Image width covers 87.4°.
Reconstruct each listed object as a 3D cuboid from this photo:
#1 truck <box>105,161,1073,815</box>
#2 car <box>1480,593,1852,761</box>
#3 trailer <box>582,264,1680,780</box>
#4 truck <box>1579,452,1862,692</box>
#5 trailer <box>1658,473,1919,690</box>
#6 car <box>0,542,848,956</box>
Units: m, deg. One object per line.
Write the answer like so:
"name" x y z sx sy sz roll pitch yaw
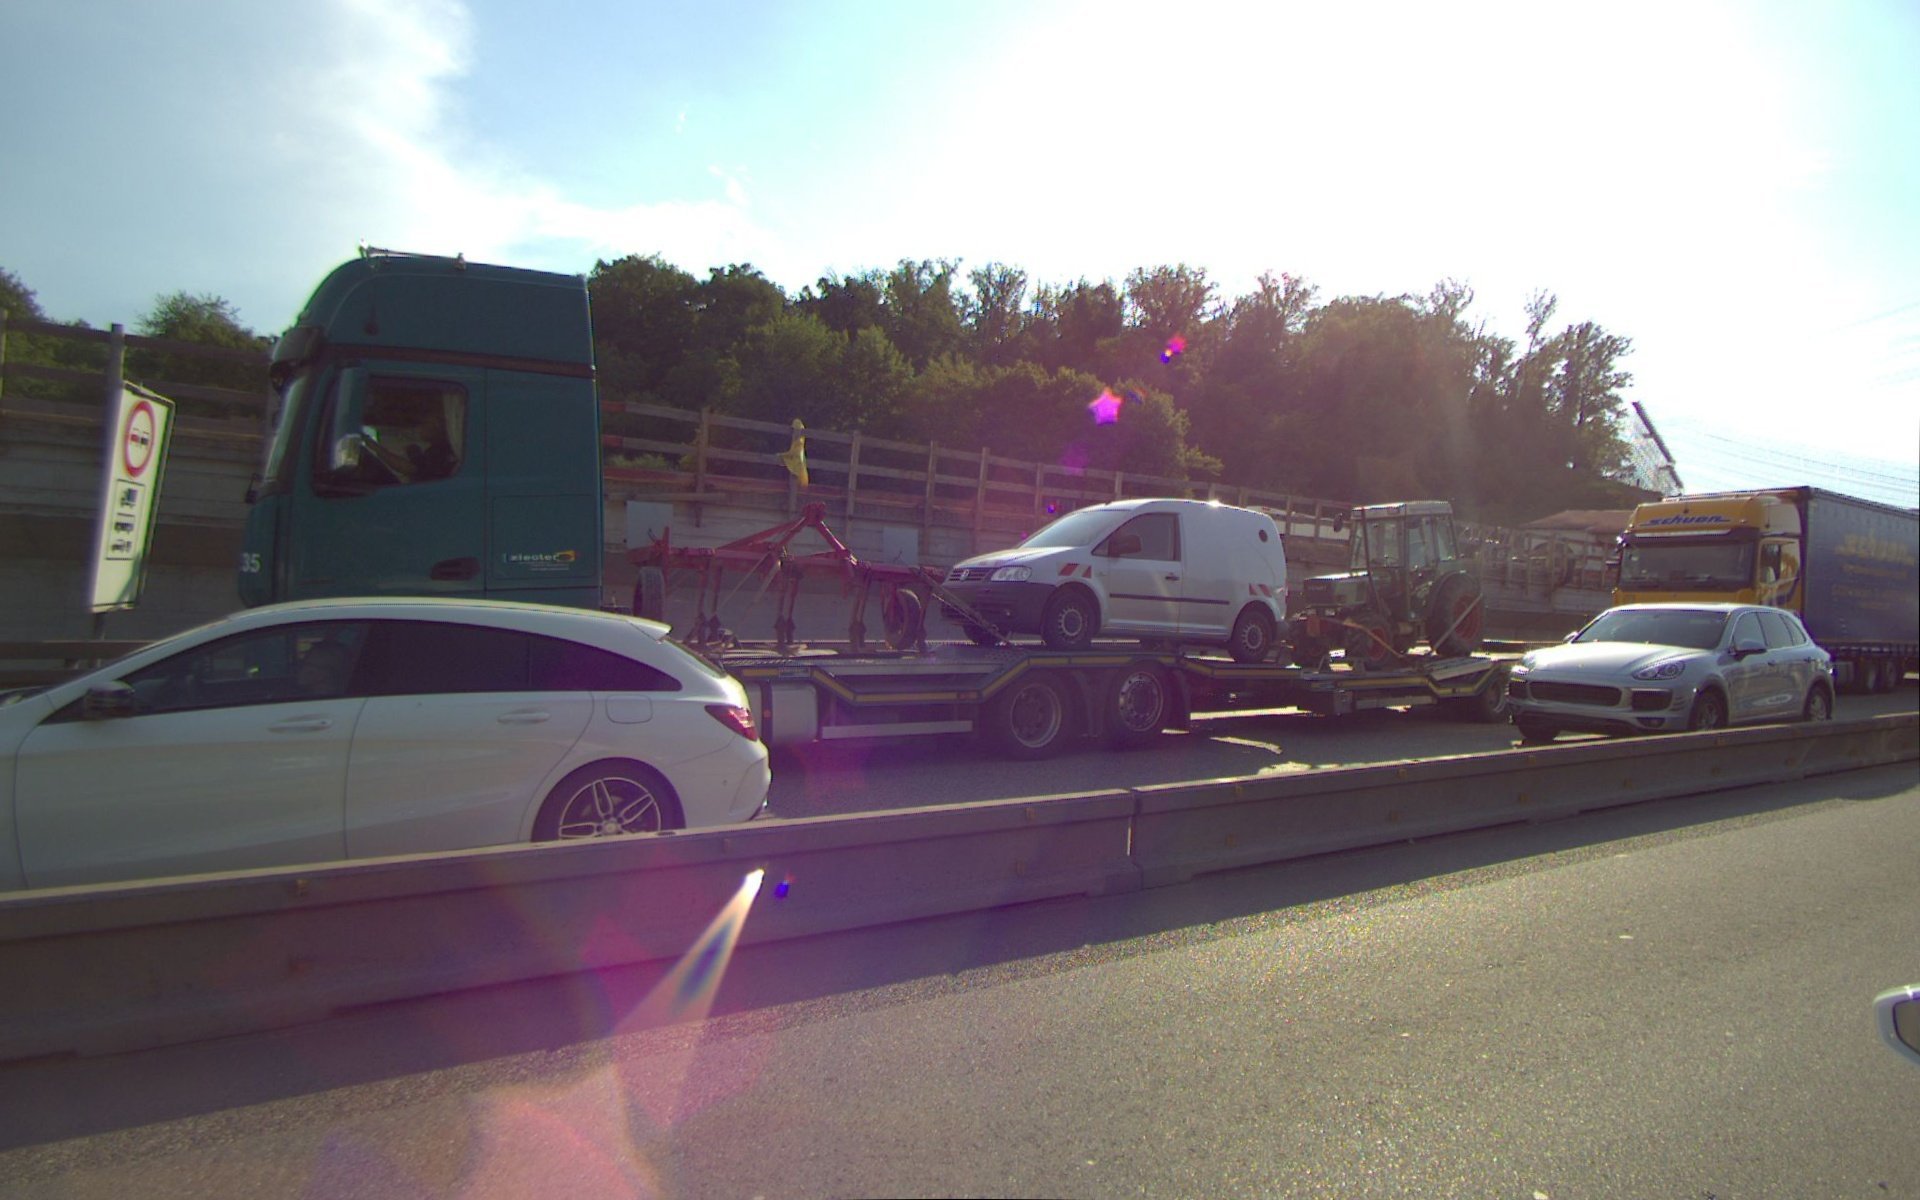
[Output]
"truck" -2.638 -0.553 8.904 7.030 3.856 2.735 2 -2 -31
"car" 8.571 0.855 12.074 4.795 1.666 1.949 2 -1 -32
"trailer" 3.796 -0.349 12.798 15.863 3.866 2.735 2 -2 -31
"truck" 15.374 -0.388 20.225 5.731 4.195 2.686 2 -1 -32
"trailer" 22.780 -0.053 24.985 16.570 4.189 2.699 2 -1 -33
"car" -3.115 0.606 5.058 4.759 1.541 1.795 2 -2 -30
